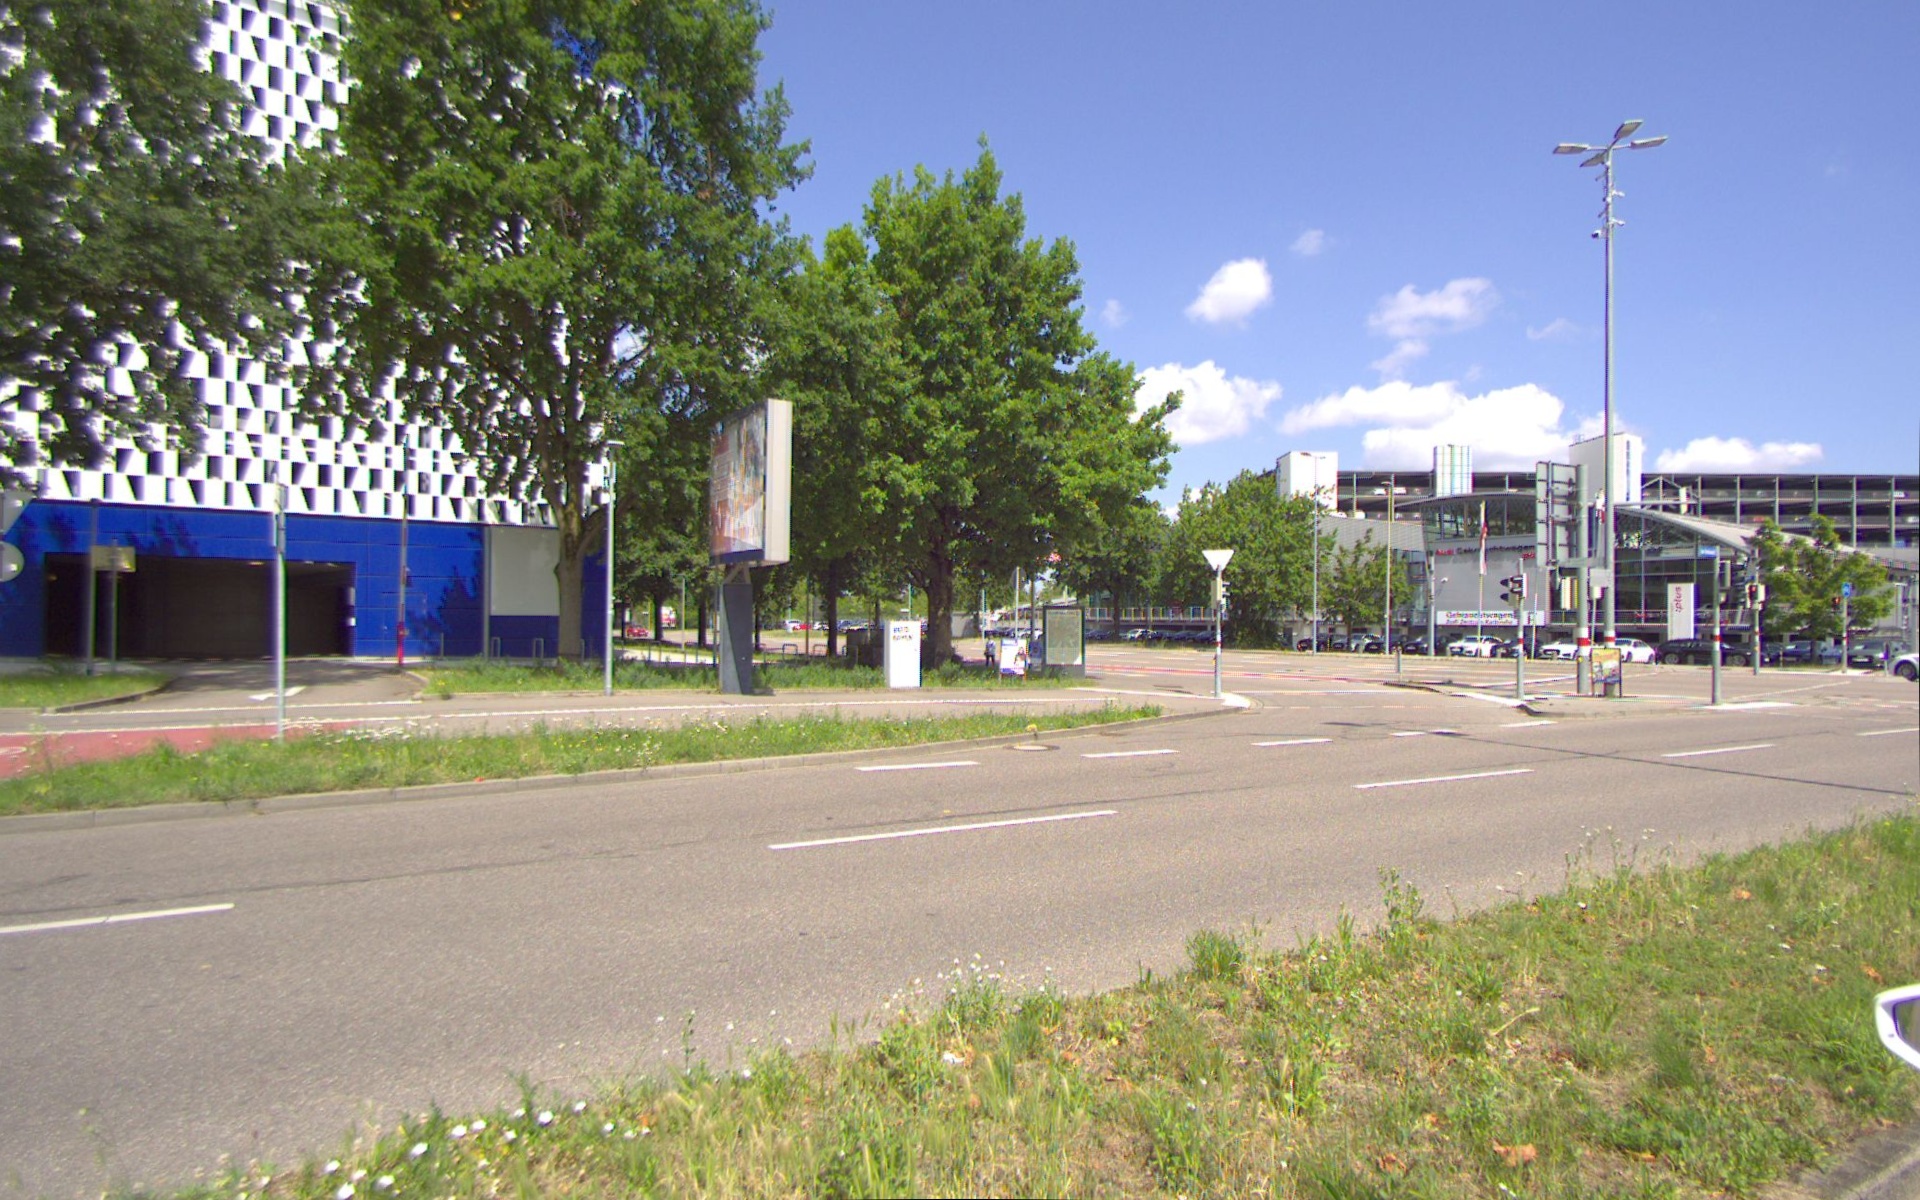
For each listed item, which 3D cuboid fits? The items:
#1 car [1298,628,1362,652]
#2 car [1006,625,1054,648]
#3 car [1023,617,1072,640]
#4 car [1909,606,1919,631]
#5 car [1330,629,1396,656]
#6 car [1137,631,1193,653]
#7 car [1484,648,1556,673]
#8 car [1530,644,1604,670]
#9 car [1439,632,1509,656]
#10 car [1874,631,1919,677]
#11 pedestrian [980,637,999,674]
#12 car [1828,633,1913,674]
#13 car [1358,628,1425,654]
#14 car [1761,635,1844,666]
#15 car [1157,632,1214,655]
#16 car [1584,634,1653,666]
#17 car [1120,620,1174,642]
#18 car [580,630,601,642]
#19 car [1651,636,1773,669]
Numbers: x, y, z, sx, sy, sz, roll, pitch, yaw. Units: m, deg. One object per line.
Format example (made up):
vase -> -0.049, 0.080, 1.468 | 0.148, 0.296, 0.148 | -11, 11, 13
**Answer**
car -> 25.801, 2.802, 69.953 | 4.544, 1.423, 1.889 | 4, -2, -35
car -> 6.929, 3.658, 99.728 | 4.544, 2.076, 1.889 | 3, -1, -35
car -> 8.461, 2.749, 96.918 | 4.544, 2.076, 1.889 | 3, -1, -35
car -> 74.547, 1.438, 75.467 | 1.747, 1.825, 4.412 | 3, -1, -35
car -> 27.088, 2.859, 67.526 | 4.545, 1.423, 1.889 | 6, -3, -35
car -> 17.081, 3.516, 83.663 | 4.544, 1.700, 1.889 | 3, -1, -35
car -> 32.825, 3.549, 58.843 | 4.544, 1.314, 1.889 | 3, -1, -35
car -> 34.336, 3.239, 56.816 | 4.544, 1.314, 1.889 | 3, -1, -35
car -> 31.337, 2.692, 61.220 | 4.544, 1.314, 1.889 | 3, -1, -35
car -> 32.561, 1.830, 32.644 | 1.826, 1.461, 3.997 | 2, -1, -5
pedestrian -> 1.262, 2.373, 43.181 | 0.499, 1.576, 0.753 | 1, -1, -34
car -> 41.671, 2.457, 45.939 | 4.544, 1.700, 1.889 | 3, -1, -35
car -> 28.221, 2.697, 65.603 | 4.545, 1.402, 1.889 | 5, -2, -35
car -> 40.405, 2.417, 48.142 | 4.544, 1.314, 1.889 | 3, -1, -35
car -> 18.403, 3.542, 81.835 | 4.544, 1.700, 1.889 | 3, -1, -35
car -> 35.654, 2.691, 54.377 | 3.961, 1.483, 1.779 | 6, -4, -35
car -> 15.937, 2.643, 85.465 | 4.544, 1.700, 1.889 | 3, -1, -35
car -> -50.153, 4.886, 136.312 | 1.874, 1.575, 4.551 | 1, -2, -30
car -> 38.503, 2.677, 51.557 | 1.778, 1.483, 4.710 | 5, -4, -34
